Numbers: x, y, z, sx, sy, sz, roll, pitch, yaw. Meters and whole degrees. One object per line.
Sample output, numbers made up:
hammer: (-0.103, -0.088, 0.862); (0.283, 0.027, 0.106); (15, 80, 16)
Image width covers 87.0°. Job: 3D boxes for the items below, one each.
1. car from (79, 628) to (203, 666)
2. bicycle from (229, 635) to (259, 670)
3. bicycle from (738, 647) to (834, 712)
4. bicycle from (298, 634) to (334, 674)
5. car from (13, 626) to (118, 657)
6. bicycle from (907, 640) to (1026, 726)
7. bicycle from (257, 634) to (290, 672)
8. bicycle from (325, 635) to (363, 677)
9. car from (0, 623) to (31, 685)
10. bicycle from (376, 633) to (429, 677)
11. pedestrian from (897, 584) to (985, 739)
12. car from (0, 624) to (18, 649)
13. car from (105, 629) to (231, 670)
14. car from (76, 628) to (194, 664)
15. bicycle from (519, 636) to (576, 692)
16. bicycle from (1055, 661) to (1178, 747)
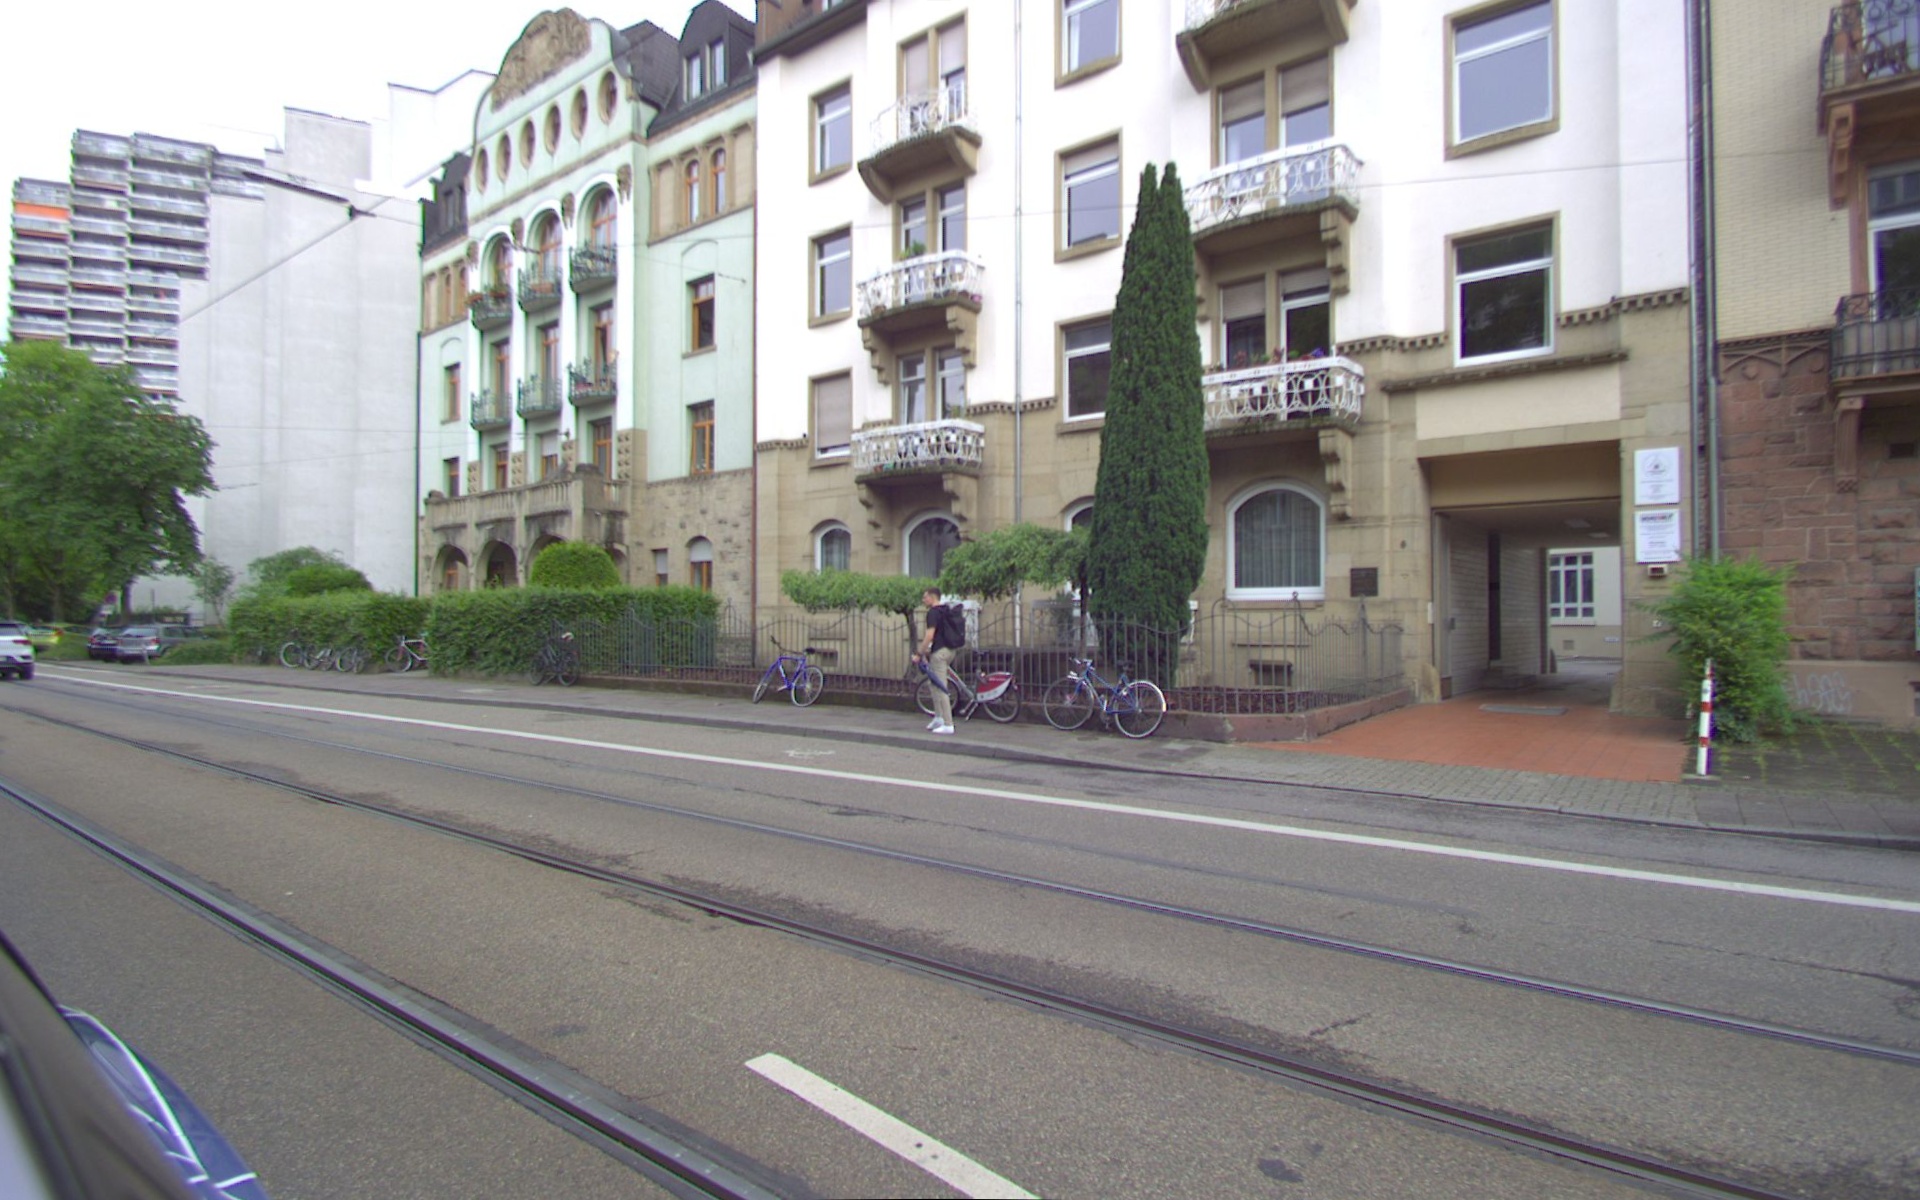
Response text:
car: (-31.934, 1.811, 39.616); (1.671, 1.414, 4.001); (0, -1, -1)
bicycle: (-22.792, 1.666, 32.212); (1.545, 1.092, 0.356); (-1, -2, 39)
bicycle: (-2.812, 1.267, 16.289); (1.660, 0.935, 0.354); (-2, -21, 41)
bicycle: (-17.990, 1.493, 28.280); (1.545, 1.092, 0.356); (-1, -2, 39)
car: (-42.314, 1.915, 47.970); (1.669, 1.405, 4.004); (0, -1, -5)
bicycle: (0.076, 1.100, 13.746); (1.617, 1.110, 0.382); (-1, -2, 28)
bicycle: (-20.584, 1.580, 30.326); (1.545, 1.092, 0.356); (-1, -2, 39)
bicycle: (-16.420, 1.482, 26.960); (1.545, 1.092, 0.356); (-1, -2, 39)
car: (-25.161, 1.346, 25.630); (3.924, 1.508, 1.683); (-1, -3, 37)
bicycle: (-14.839, 1.451, 26.939); (0.300, 1.091, 1.190); (-1, 0, 40)
pedestrian: (-0.239, 0.756, 12.715); (0.881, 1.858, 0.661); (-1, -2, 38)
car: (-62.618, 2.343, 64.462); (1.669, 1.632, 4.004); (0, -1, -5)
car: (-29.612, 1.817, 37.991); (1.671, 1.414, 4.001); (0, -1, -1)
car: (-34.103, 1.867, 41.974); (1.671, 1.414, 4.001); (0, -1, -1)
bicycle: (-8.435, 1.284, 20.671); (1.545, 1.092, 0.356); (-1, -2, 39)
bicycle: (1.881, 1.238, 12.277); (1.513, 0.945, 0.329); (-1, -2, 39)
